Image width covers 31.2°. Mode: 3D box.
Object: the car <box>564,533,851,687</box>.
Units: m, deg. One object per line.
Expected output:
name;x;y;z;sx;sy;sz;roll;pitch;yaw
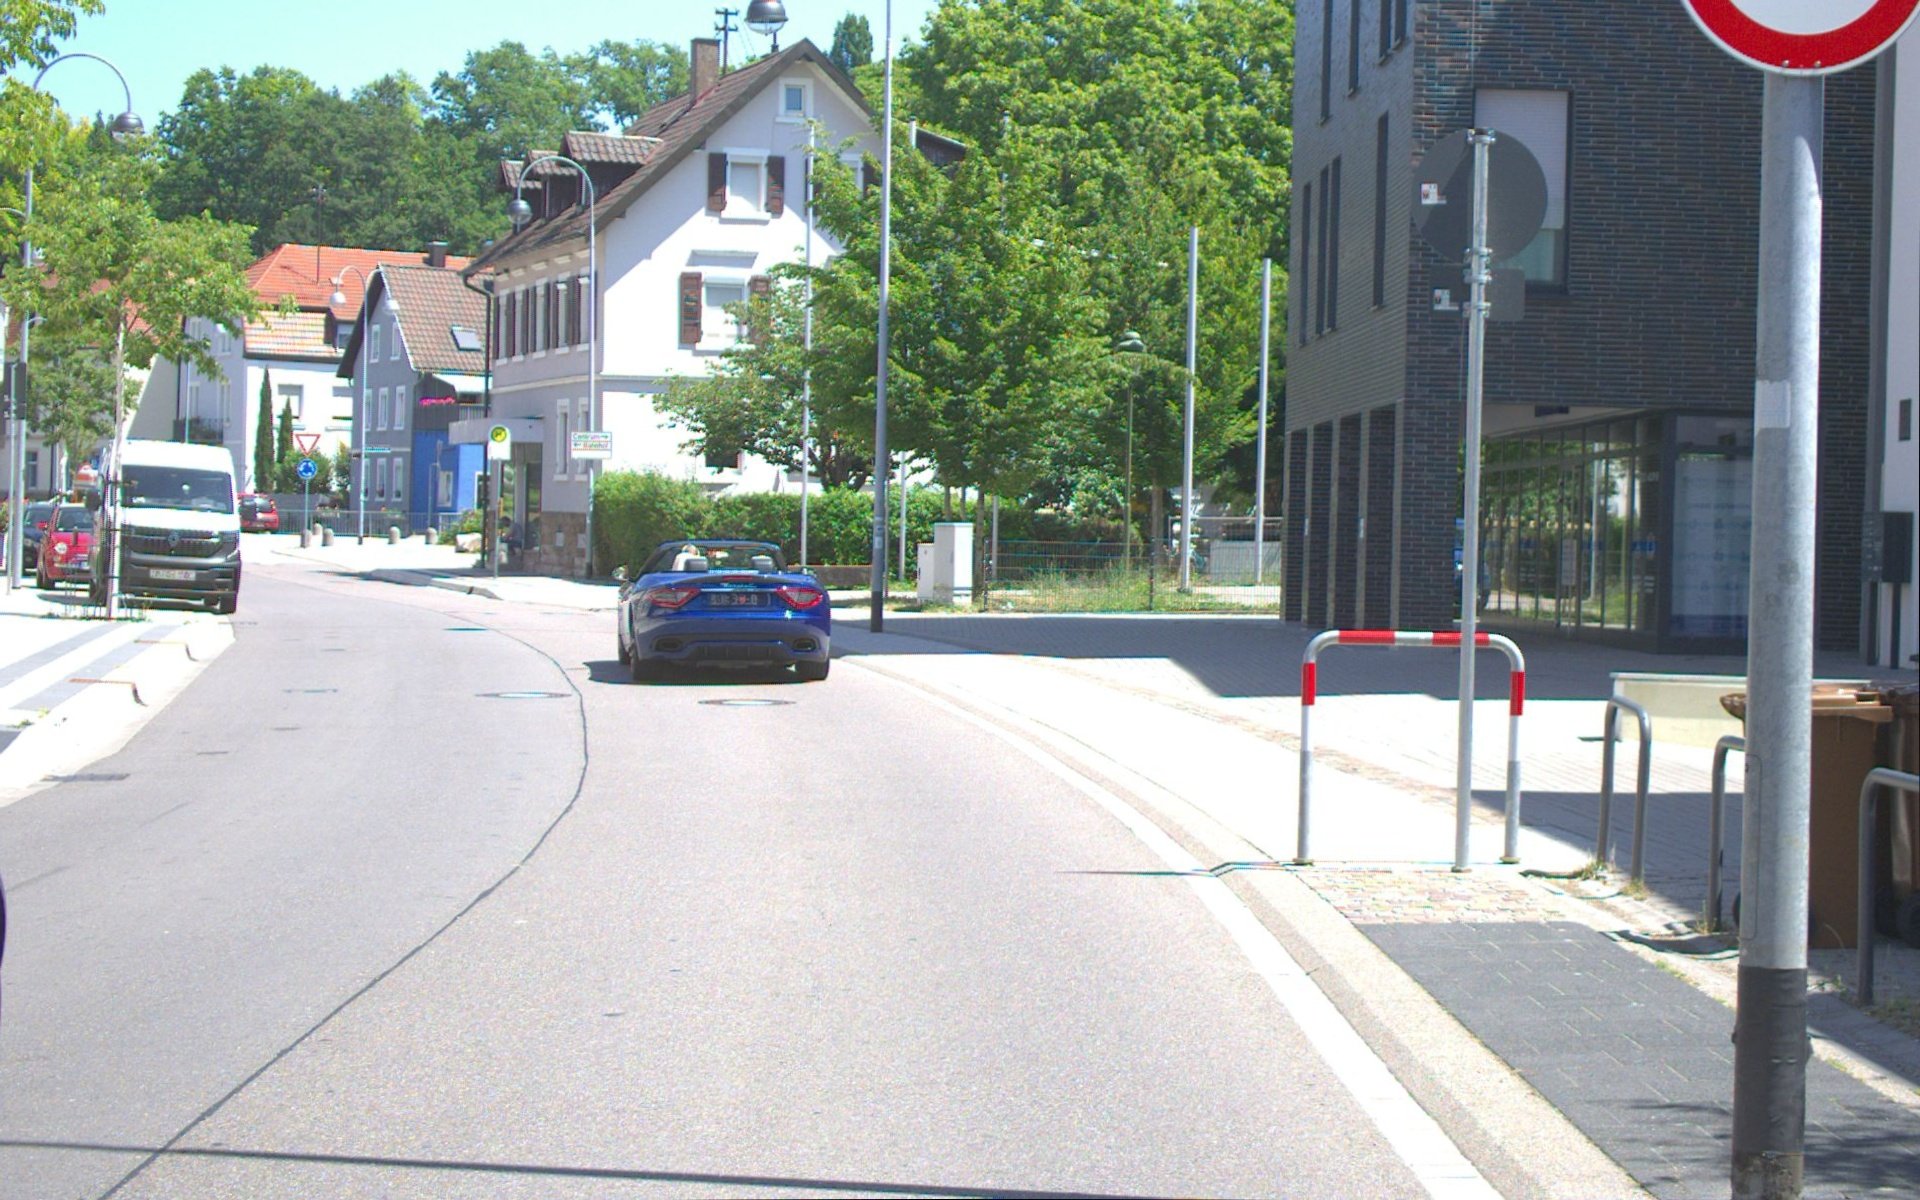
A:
car;-2.560;0.054;33.850;1.910;1.356;4.287;0;2;-17

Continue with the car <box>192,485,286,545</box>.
car;-25.390;-3.009;120.971;1.993;2.007;4.000;1;1;-31

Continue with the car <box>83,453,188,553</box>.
car;-19.984;-2.349;83.192;2.155;2.354;5.249;0;2;-17

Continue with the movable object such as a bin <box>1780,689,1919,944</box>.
movable object such as a bin;3.425;0.814;13.101;0.473;0.927;0.528;0;1;-1

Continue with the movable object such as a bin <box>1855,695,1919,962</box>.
movable object such as a bin;3.569;0.823;12.541;0.467;0.927;0.528;0;1;-1

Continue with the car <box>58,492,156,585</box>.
car;-14.719;-1.067;59.326;1.559;1.515;3.517;1;1;-14

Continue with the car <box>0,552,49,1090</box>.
car;-3.384;0.630;7.845;1.616;1.449;3.864;0;1;-1

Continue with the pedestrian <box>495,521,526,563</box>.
pedestrian;-10.729;-1.391;82.002;0.590;0.996;0.724;0;2;-19

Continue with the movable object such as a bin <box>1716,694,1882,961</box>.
movable object such as a bin;3.050;0.817;12.527;0.473;0.927;0.528;0;1;-1

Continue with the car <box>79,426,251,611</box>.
car;-11.866;-1.224;51.086;2.091;2.489;5.505;3;1;-16
